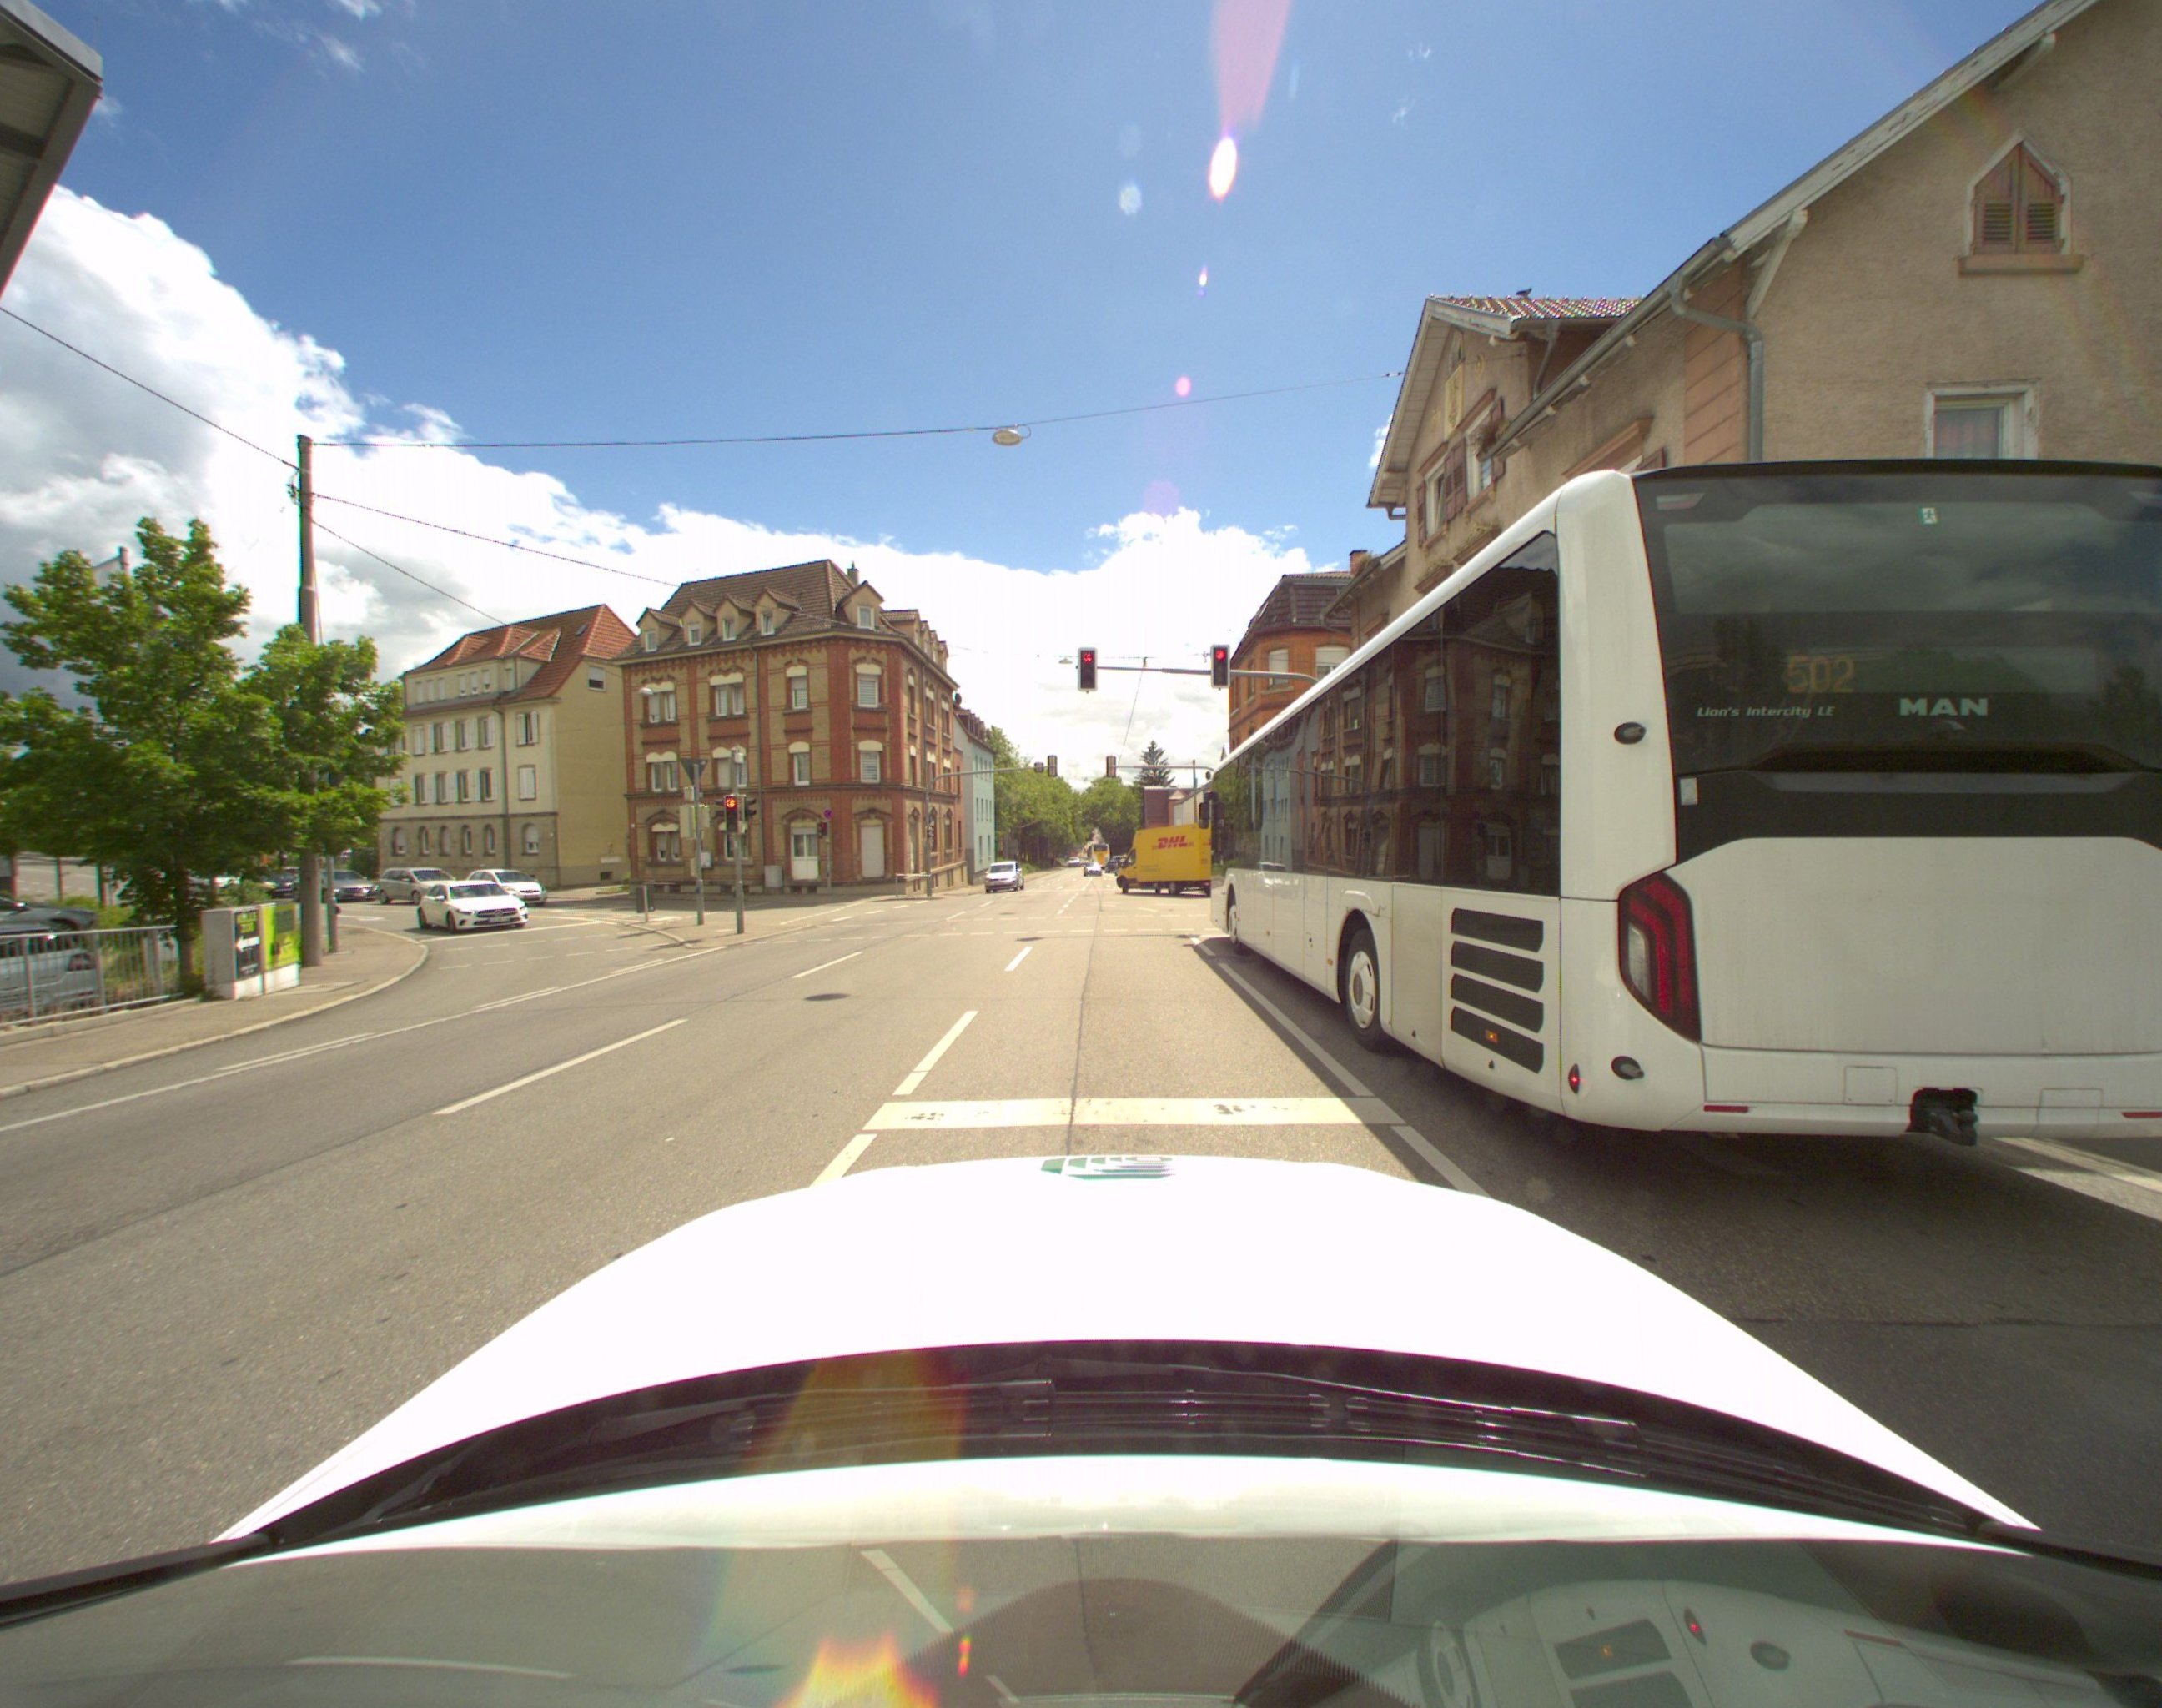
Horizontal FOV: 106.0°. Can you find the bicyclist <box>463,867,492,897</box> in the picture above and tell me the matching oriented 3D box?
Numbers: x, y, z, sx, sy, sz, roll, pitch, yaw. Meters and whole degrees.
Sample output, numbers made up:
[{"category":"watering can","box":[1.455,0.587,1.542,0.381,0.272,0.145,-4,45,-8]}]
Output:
[{"category":"bicyclist","box":[-30.478,1.412,41.120,1.065,1.499,0.592,-2,0,10]}]

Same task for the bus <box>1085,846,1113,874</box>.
[{"category":"bus","box":[2.471,0.841,117.741,3.292,3.631,11.233,-2,0,-2]}]

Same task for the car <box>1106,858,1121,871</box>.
[{"category":"car","box":[3.624,1.135,91.605,1.603,1.376,4.002,-2,0,2]}]

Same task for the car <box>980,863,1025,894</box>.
[{"category":"car","box":[-4.366,1.340,45.802,1.928,1.563,4.390,-2,0,2]}]

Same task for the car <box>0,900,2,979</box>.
[{"category":"car","box":[-23.406,1.734,16.433,3.371,1.575,1.526,-1,0,30]}]

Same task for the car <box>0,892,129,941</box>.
[{"category":"car","box":[-29.255,1.729,22.216,1.795,1.186,4.025,-1,0,31]}]

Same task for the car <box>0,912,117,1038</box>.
[{"category":"car","box":[-16.119,1.739,12.183,3.638,1.575,1.766,-1,-2,34]}]

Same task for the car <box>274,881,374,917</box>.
[{"category":"car","box":[-35.452,2.077,38.143,3.951,1.519,2.011,-1,0,24]}]

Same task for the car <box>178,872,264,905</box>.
[{"category":"car","box":[-44.504,1.752,42.116,4.291,1.586,2.012,-1,0,29]}]

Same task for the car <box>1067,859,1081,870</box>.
[{"category":"car","box":[-1.149,1.726,136.715,2.199,1.613,4.549,-2,0,2]}]

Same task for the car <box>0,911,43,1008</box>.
[{"category":"car","box":[-19.715,1.831,14.153,3.744,1.523,1.526,-1,0,30]}]

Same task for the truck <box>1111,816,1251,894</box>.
[{"category":"truck","box":[4.009,0.073,34.132,2.556,2.913,6.512,0,-1,-28]}]

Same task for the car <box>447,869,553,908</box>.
[{"category":"car","box":[-23.600,1.390,33.063,3.951,1.497,1.711,-1,0,24]}]

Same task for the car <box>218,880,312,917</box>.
[{"category":"car","box":[-40.483,2.208,40.413,3.951,1.642,2.011,-2,0,24]}]

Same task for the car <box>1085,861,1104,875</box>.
[{"category":"car","box":[1.380,1.422,82.977,1.858,1.367,4.549,-2,0,2]}]

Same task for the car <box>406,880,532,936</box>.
[{"category":"car","box":[-18.247,1.539,24.216,4.334,1.447,1.875,-2,0,37]}]

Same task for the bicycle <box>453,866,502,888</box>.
[{"category":"bicycle","box":[-30.468,1.155,41.116,2.172,1.019,0.608,-2,0,9]}]

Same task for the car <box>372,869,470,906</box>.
[{"category":"car","box":[-29.208,1.468,36.050,3.951,1.519,1.757,-1,0,24]}]

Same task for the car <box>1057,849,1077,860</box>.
[{"category":"car","box":[-4.054,0.201,237.586,5.655,3.070,2.123,0,-1,-40]}]

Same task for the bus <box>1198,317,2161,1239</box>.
[{"category":"bus","box":[3.513,-0.249,9.353,2.893,3.510,12.492,0,0,2]}]

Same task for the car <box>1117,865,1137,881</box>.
[{"category":"car","box":[4.578,1.876,81.319,1.858,1.367,4.549,-2,0,2]}]

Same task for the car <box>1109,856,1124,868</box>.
[{"category":"car","box":[5.619,1.261,129.389,2.086,1.830,4.140,-1,0,-1]}]

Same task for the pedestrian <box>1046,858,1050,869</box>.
[{"category":"pedestrian","box":[-5.527,1.632,136.889,0.604,1.758,0.653,-2,0,0]}]
